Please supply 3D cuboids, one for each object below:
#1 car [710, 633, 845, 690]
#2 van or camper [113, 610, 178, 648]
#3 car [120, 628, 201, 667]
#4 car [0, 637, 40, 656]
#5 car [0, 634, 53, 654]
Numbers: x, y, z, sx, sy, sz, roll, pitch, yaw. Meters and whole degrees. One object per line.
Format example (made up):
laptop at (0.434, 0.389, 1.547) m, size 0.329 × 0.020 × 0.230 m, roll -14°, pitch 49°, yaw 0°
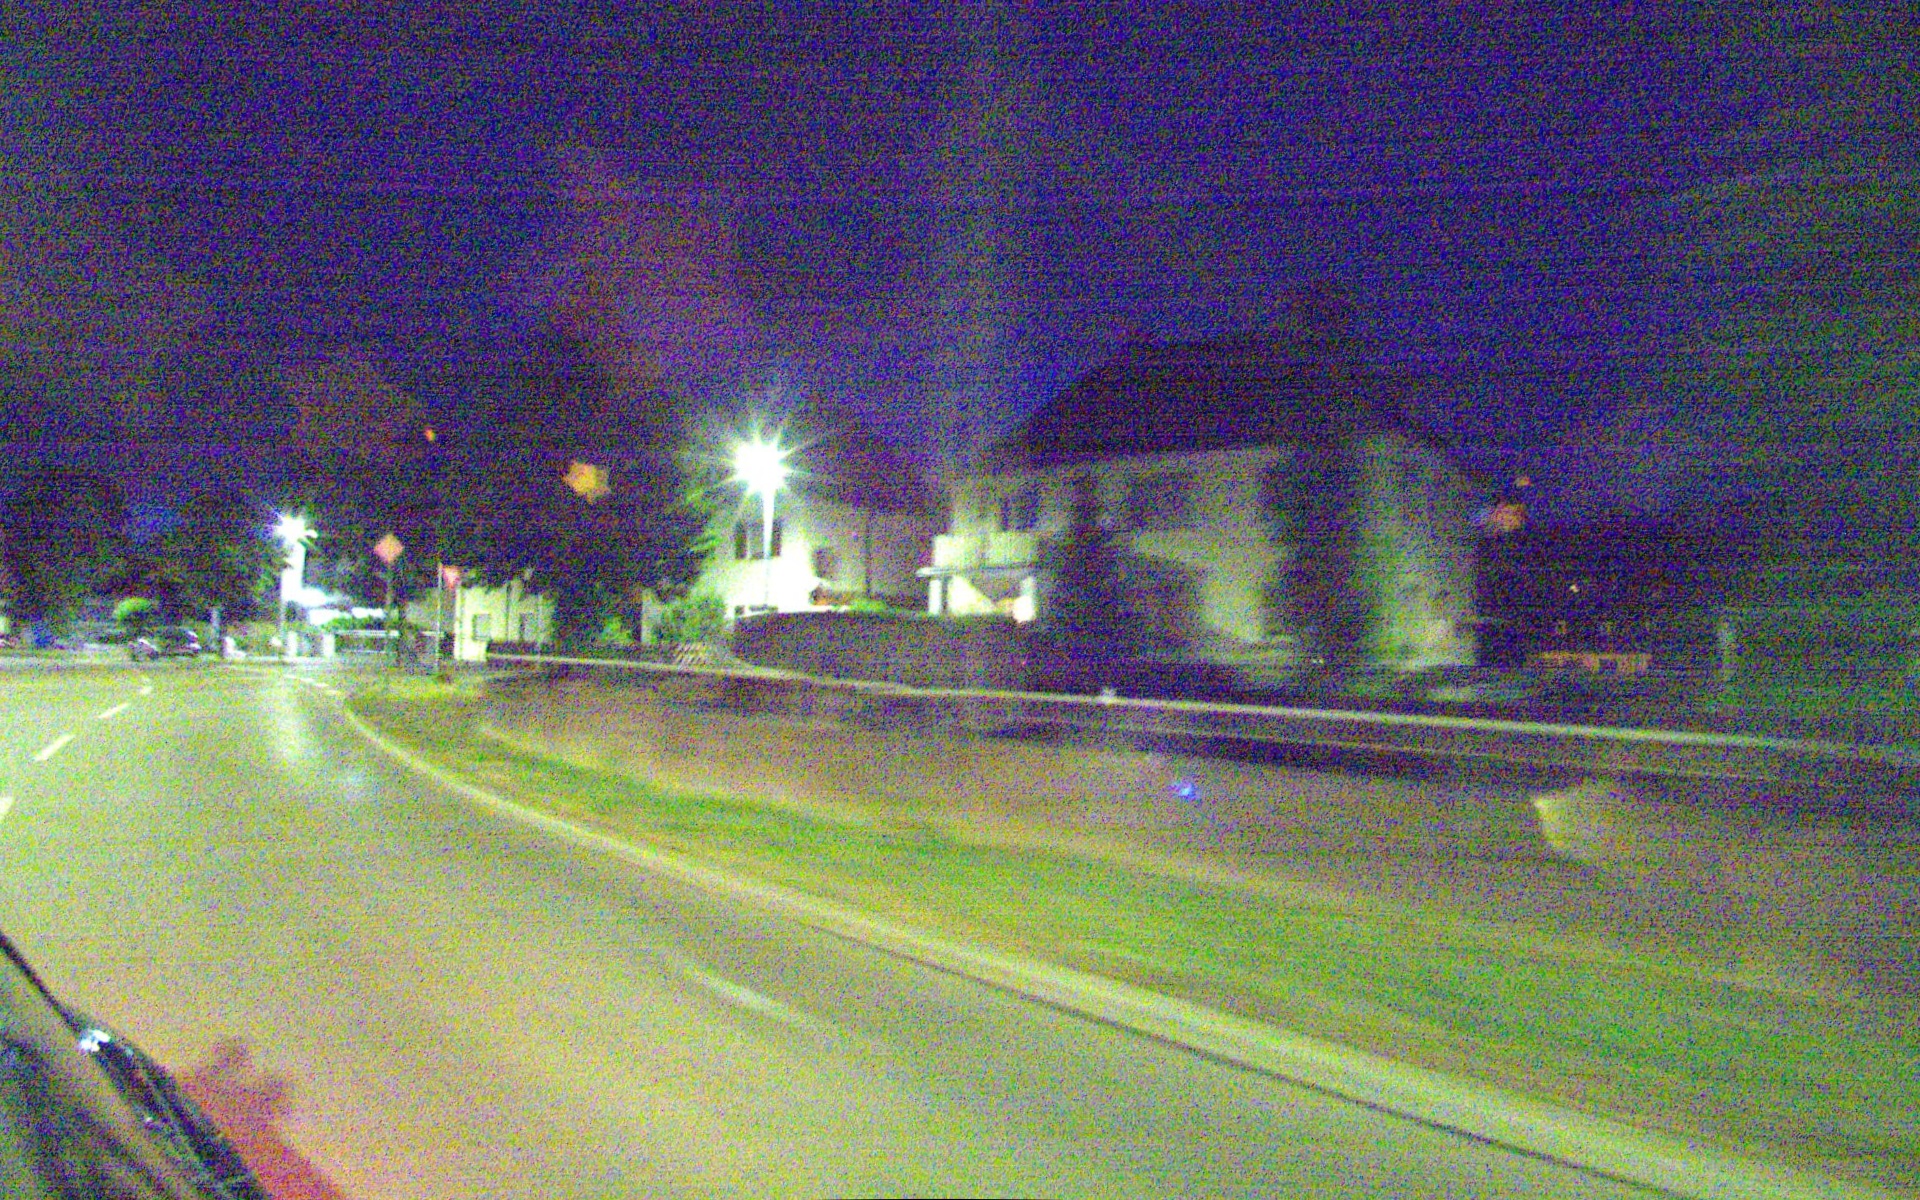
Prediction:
car at (-5.622, 1.910, 31.352) m, size 3.664 × 1.639 × 1.787 m, roll 4°, pitch -4°, yaw -37°
van or camper at (-61.508, 2.254, 76.359) m, size 5.912 × 2.768 × 2.058 m, roll -2°, pitch -3°, yaw 33°
car at (-34.239, 2.018, 43.300) m, size 3.978 × 1.603 × 1.658 m, roll -2°, pitch -3°, yaw 36°
car at (-82.200, 4.011, 86.871) m, size 2.019 × 1.574 × 4.286 m, roll -2°, pitch -4°, yaw 27°
car at (-79.444, 3.725, 85.443) m, size 1.997 × 1.630 × 3.949 m, roll -2°, pitch -4°, yaw 37°
